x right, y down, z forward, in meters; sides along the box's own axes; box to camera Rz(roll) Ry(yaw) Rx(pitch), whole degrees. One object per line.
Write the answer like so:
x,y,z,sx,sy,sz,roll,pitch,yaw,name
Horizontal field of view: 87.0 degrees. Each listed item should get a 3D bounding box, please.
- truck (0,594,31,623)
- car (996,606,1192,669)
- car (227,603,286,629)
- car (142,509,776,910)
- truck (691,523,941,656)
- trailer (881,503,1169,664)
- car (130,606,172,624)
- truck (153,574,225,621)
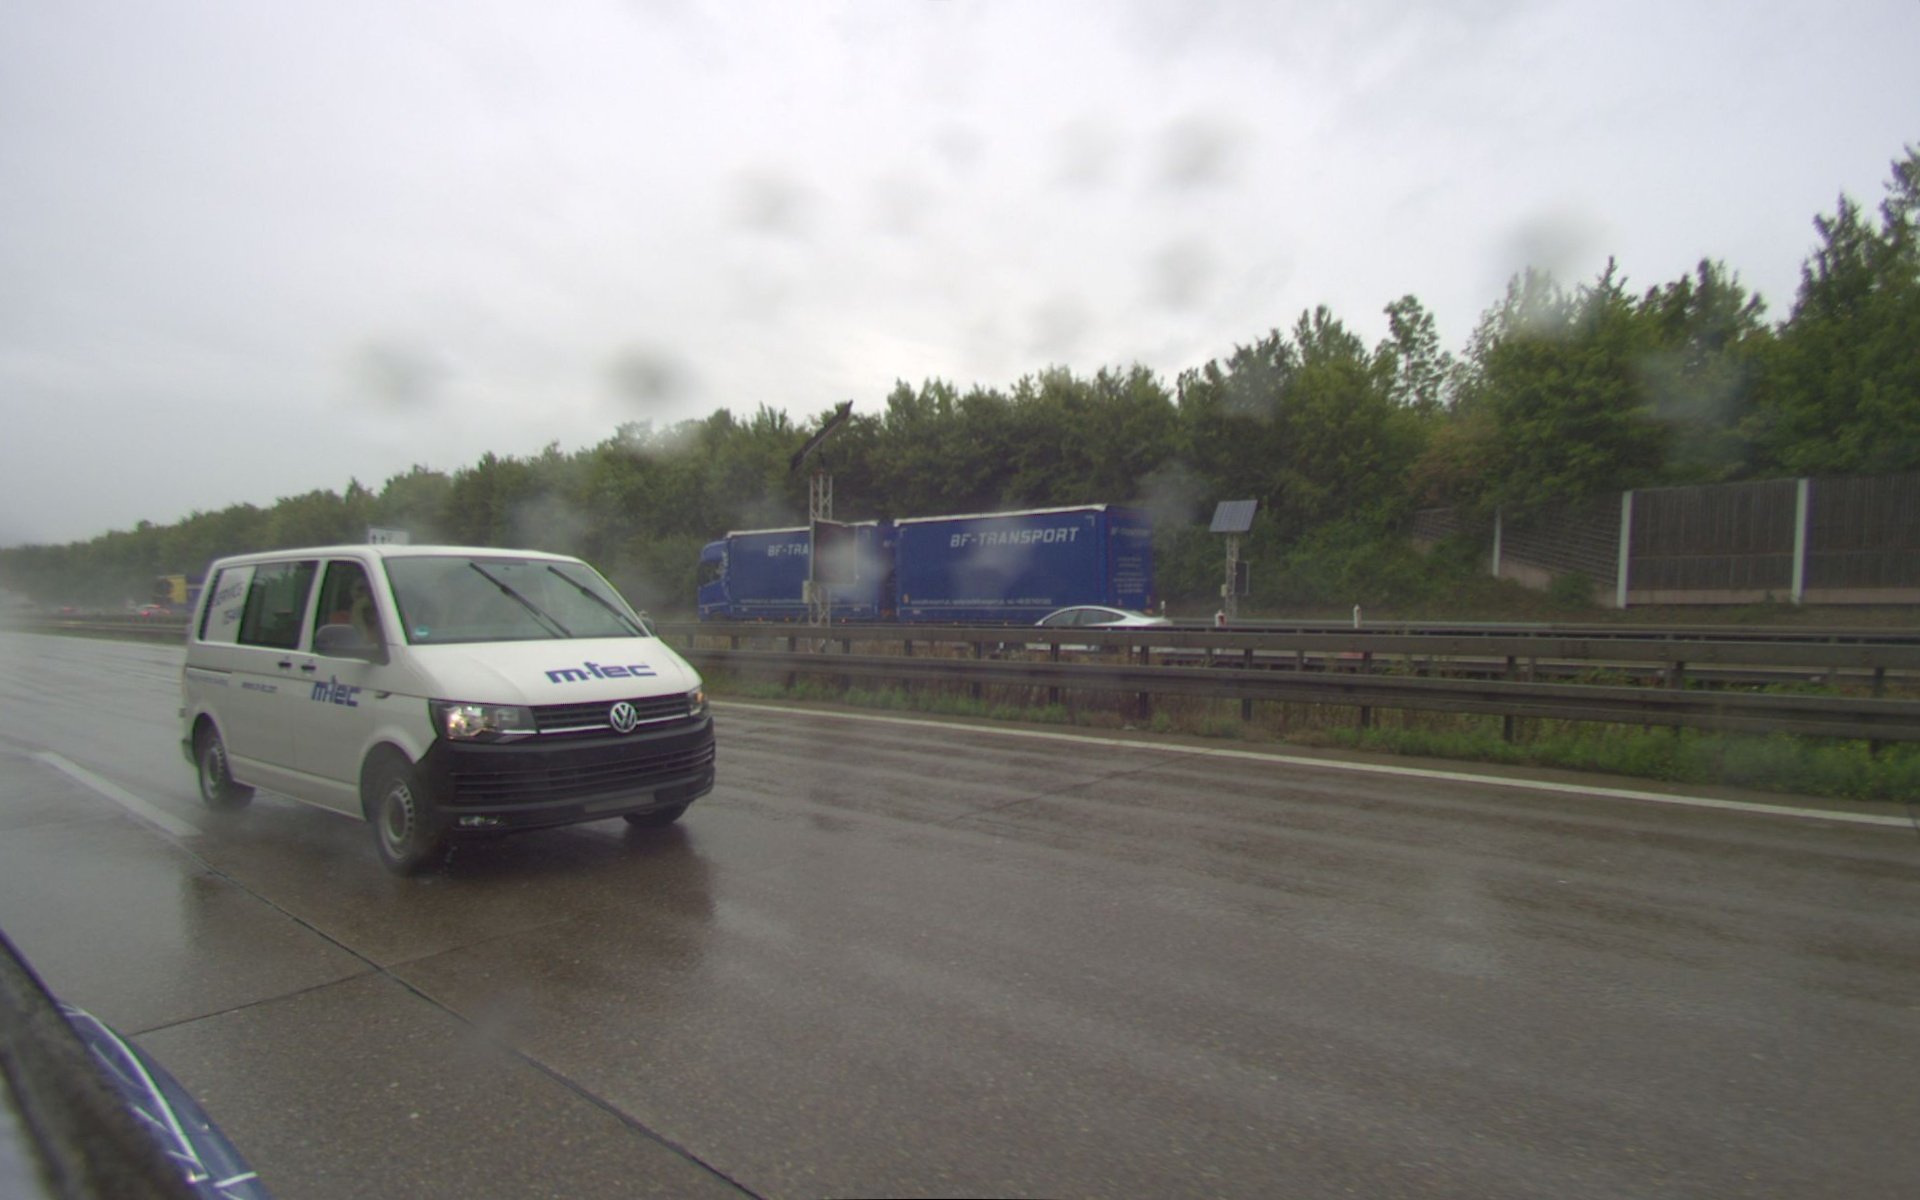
-115.576,1.089,122.514,11.501,3.340,2.747,-1,1,39,truck
3.146,0.860,24.318,4.422,1.349,1.735,-1,1,40,car
-44.694,1.022,64.258,5.267,1.543,1.735,-1,1,41,car
-3.727,0.573,7.082,5.033,1.908,1.882,-1,-2,36,car
-5.460,-0.283,36.332,10.172,4.185,2.819,-1,1,41,truck
1.699,-0.395,30.189,8.519,4.185,2.819,-1,1,41,trailer
-63.470,1.200,79.376,4.422,1.349,1.735,-1,1,40,car
-64.429,-0.160,84.495,9.790,3.728,2.559,-1,1,40,truck
